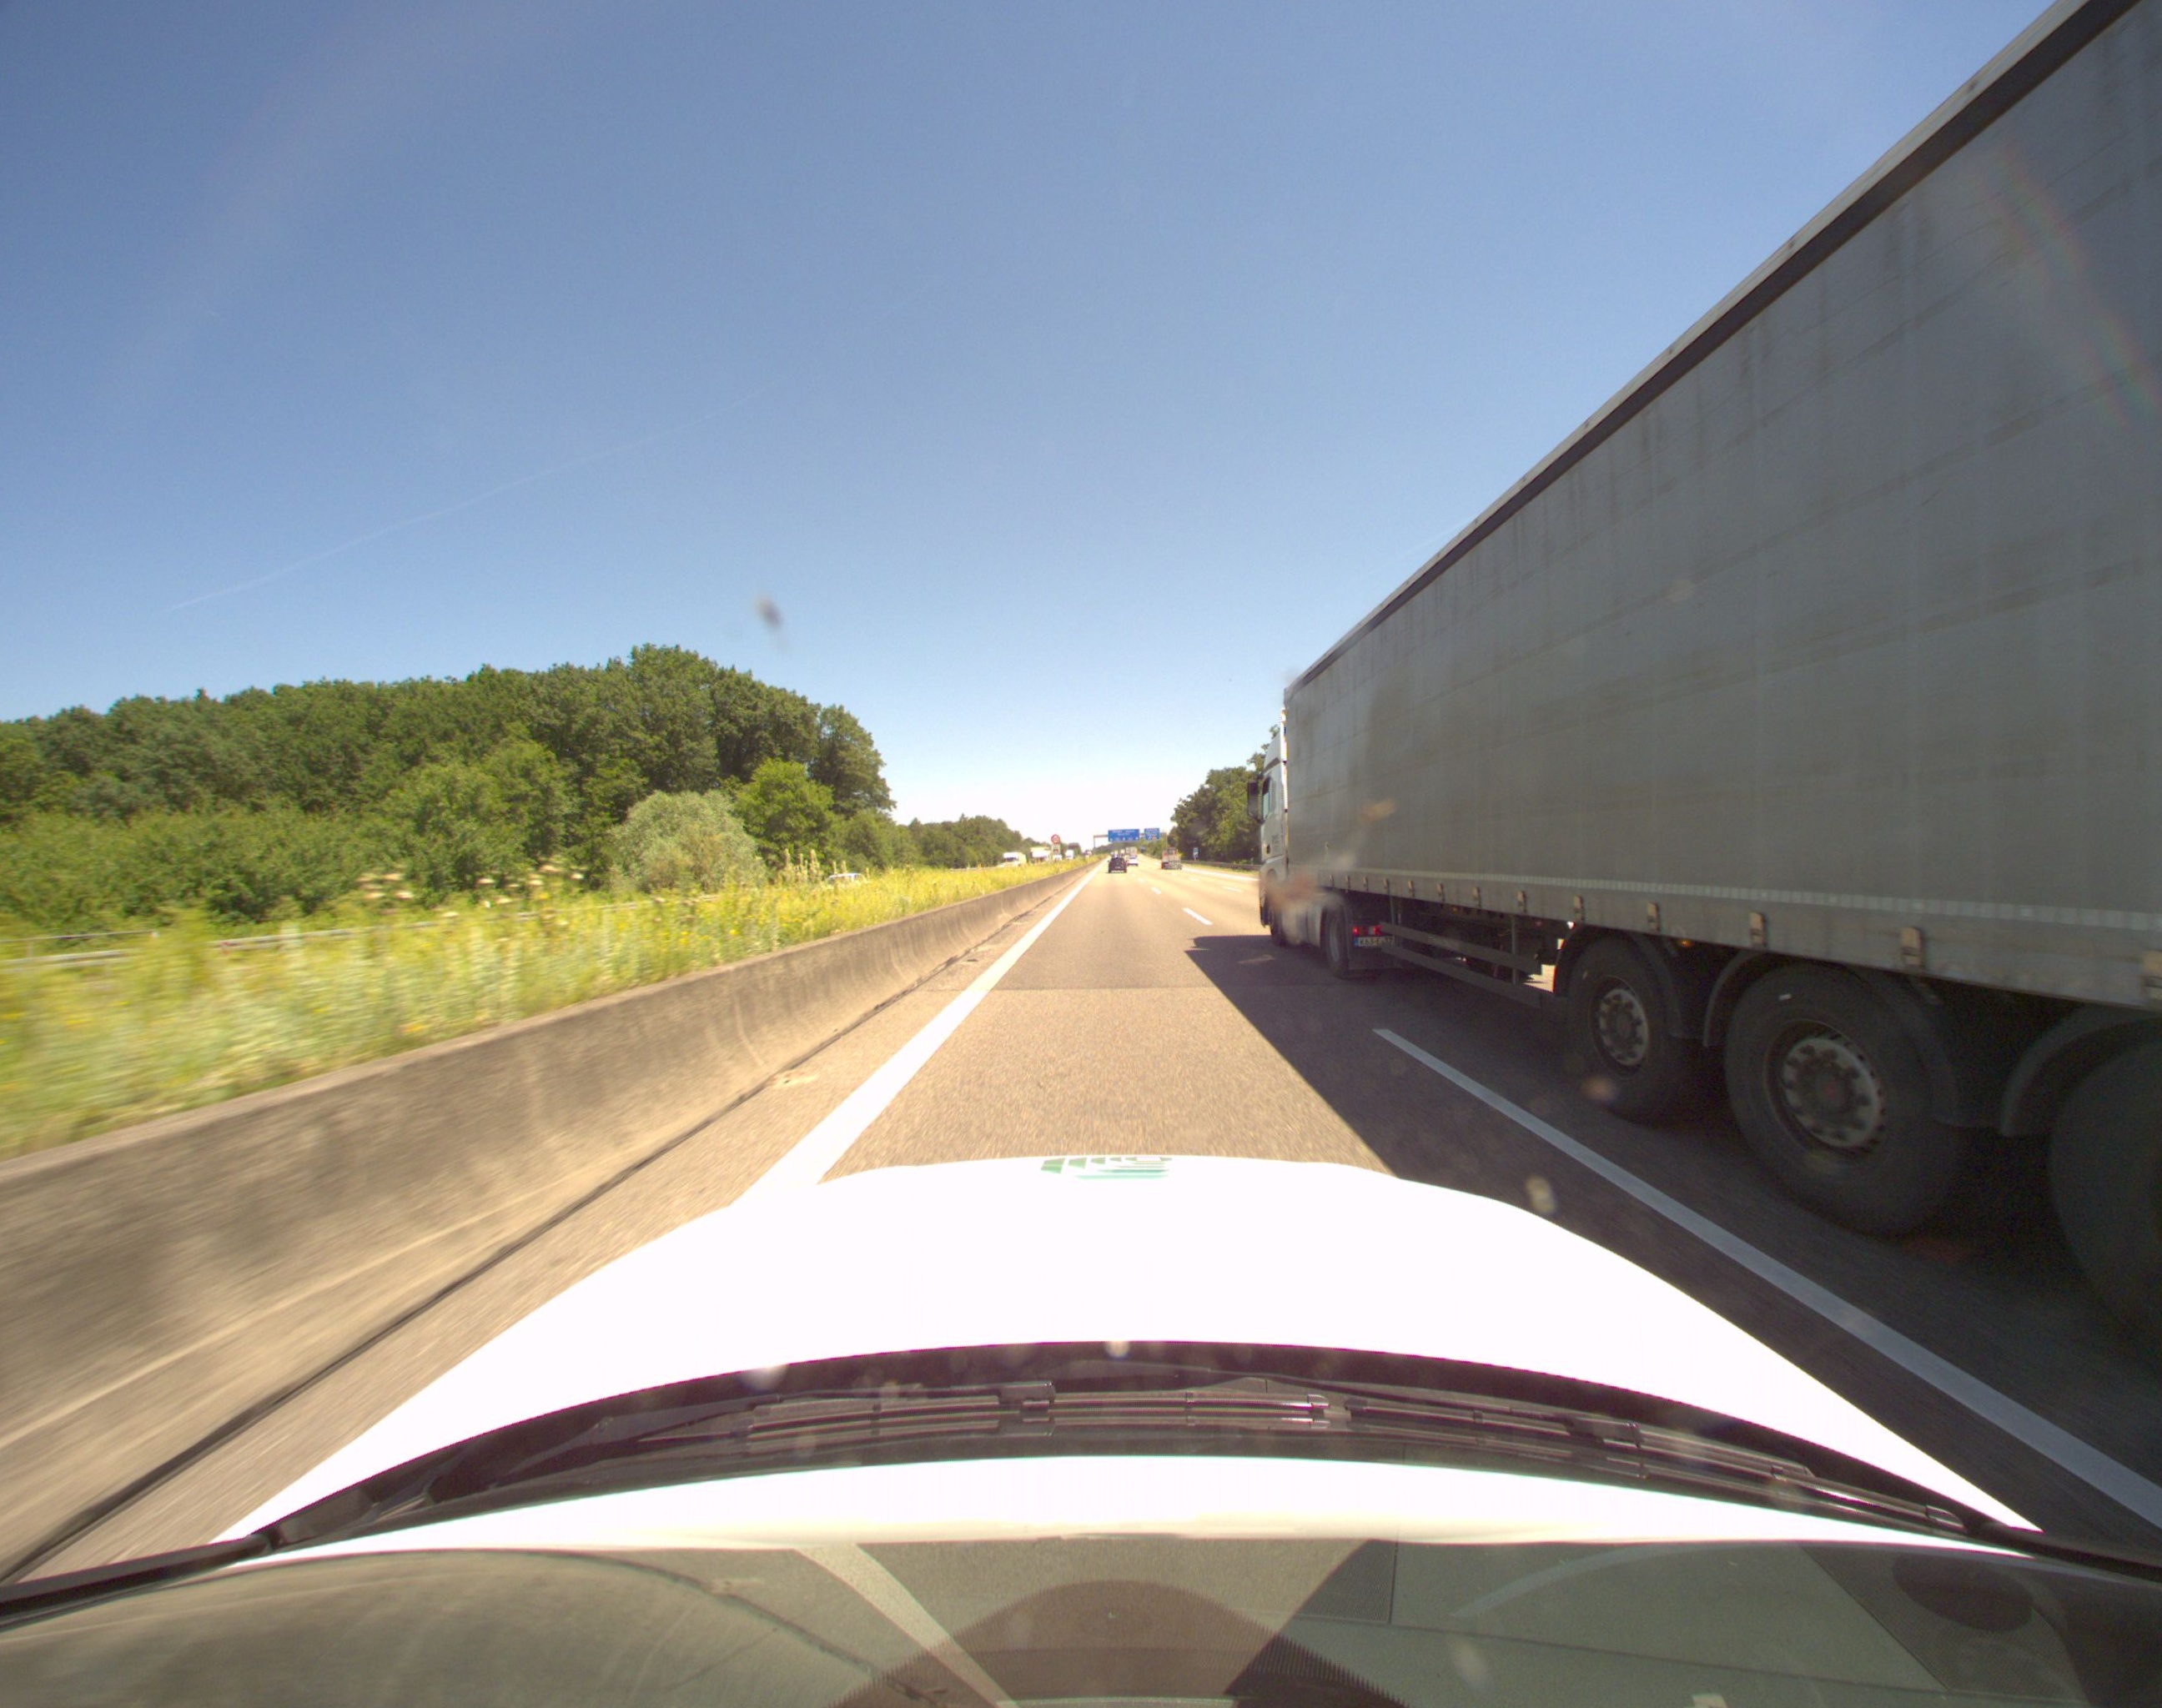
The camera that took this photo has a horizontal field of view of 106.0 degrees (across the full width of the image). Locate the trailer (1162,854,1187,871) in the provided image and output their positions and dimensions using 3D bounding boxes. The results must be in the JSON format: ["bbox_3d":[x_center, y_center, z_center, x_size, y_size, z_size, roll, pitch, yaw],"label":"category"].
[{"bbox_3d":[11.660,1.043,101.933,2.412,2.013,6.034,-1,0,1],"label":"trailer"}]

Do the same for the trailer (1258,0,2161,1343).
[{"bbox_3d":[4.223,-0.717,6.634,2.697,4.068,14.749,-1,-1,2],"label":"trailer"}]

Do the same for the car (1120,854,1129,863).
[{"bbox_3d":[10.138,1.079,189.416,1.986,2.014,4.001,-3,-1,2],"label":"car"}]

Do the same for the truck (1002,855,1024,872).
[{"bbox_3d":[-12.542,1.772,151.089,2.677,2.942,10.491,-2,0,2],"label":"truck"}]

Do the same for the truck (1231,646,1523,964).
[{"bbox_3d":[4.439,-0.584,13.834,2.690,4.094,6.455,-1,-1,2],"label":"truck"}]

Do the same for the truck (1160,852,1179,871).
[{"bbox_3d":[11.674,0.942,107.282,1.986,2.374,4.645,-1,0,1],"label":"truck"}]

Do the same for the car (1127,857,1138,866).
[{"bbox_3d":[8.813,1.294,138.478,1.733,1.486,4.001,-1,-1,2],"label":"car"}]

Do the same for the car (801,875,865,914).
[{"bbox_3d":[-11.789,1.910,38.958,1.642,1.644,4.001,-3,-1,2],"label":"car"}]

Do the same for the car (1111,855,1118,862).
[{"bbox_3d":[10.252,1.277,246.417,1.986,2.014,4.001,-3,-1,1],"label":"car"}]

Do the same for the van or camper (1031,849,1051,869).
[{"bbox_3d":[-6.645,0.770,134.955,2.497,3.155,7.539,-1,0,3],"label":"van or camper"}]

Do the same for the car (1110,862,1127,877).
[{"bbox_3d":[4.013,1.681,87.918,1.654,1.549,3.783,-1,-1,1],"label":"car"}]

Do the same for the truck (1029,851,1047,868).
[{"bbox_3d":[-8.022,0.972,152.667,2.597,3.008,6.974,-2,0,2],"label":"truck"}]
